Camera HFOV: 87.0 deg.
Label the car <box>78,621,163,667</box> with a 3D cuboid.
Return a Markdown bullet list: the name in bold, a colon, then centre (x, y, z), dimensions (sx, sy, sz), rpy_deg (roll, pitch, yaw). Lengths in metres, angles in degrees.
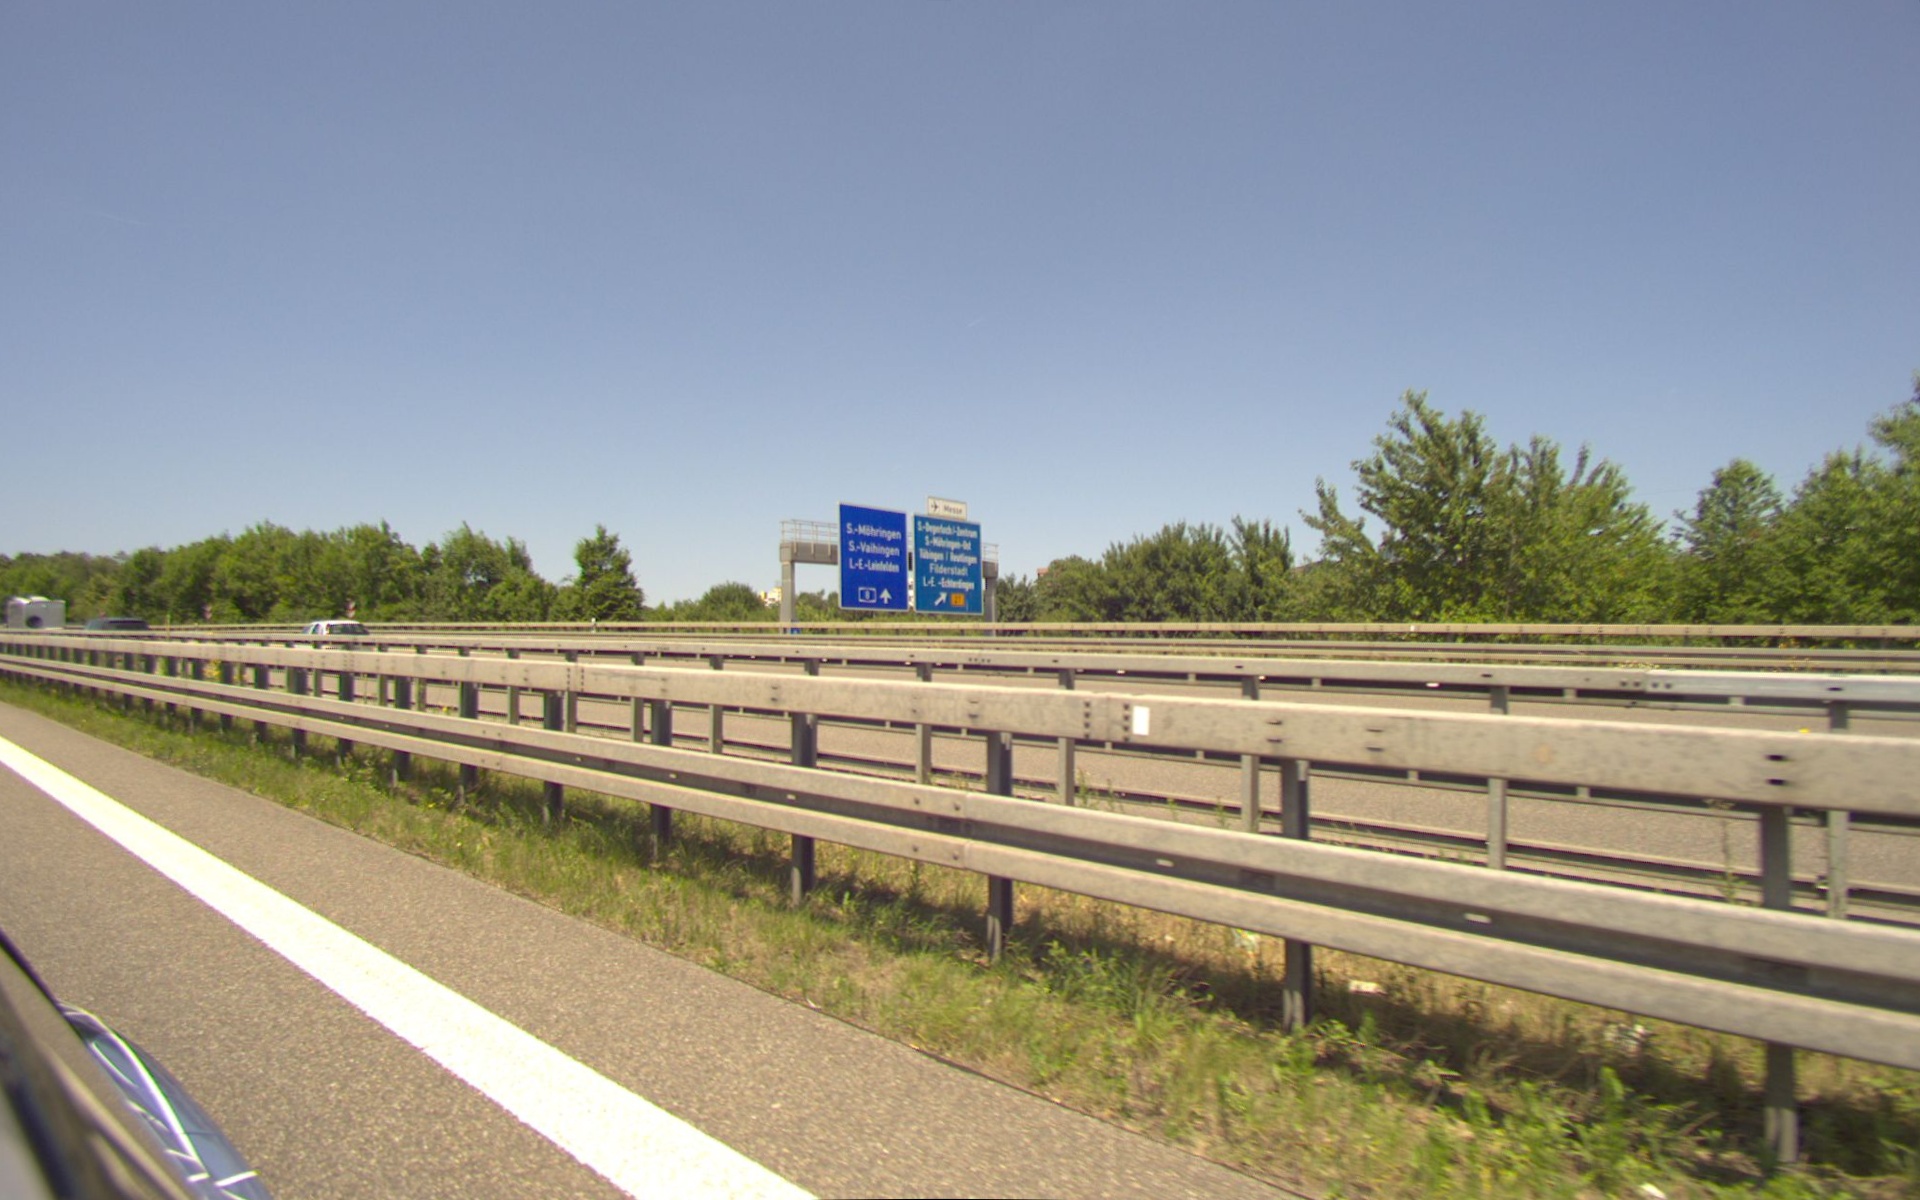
- **car**: centre (-31.766, 1.631, 38.259), dimensions (4.688, 1.598, 1.730), rpy_deg (-1, -1, 41)

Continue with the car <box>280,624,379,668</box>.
- **car**: centre (-21.923, 1.555, 35.129), dimensions (4.094, 1.395, 1.731), rpy_deg (-1, -1, 40)

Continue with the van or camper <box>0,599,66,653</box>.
- **van or camper**: centre (-60.692, 1.717, 66.201), dimensions (6.825, 3.336, 2.290), rpy_deg (-2, -1, 40)
